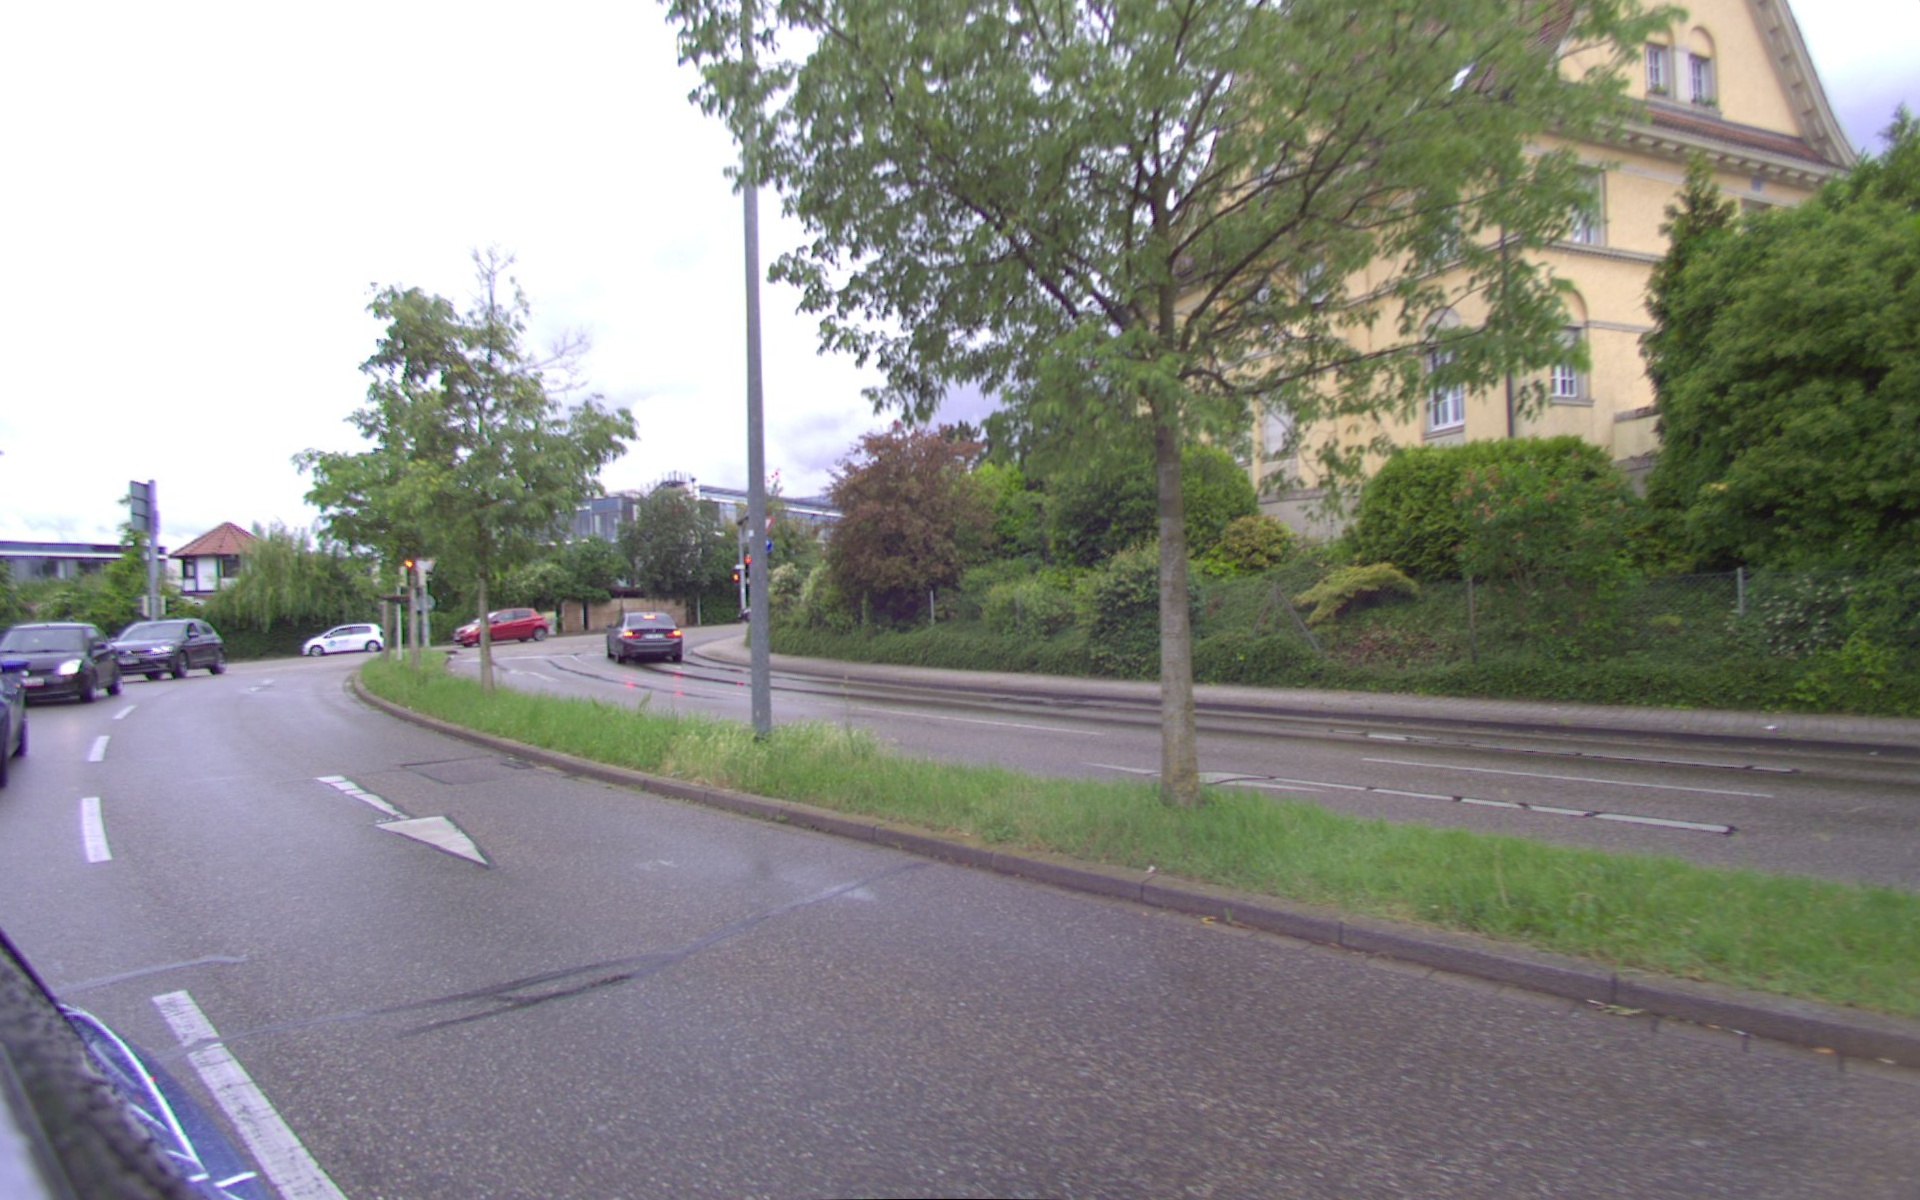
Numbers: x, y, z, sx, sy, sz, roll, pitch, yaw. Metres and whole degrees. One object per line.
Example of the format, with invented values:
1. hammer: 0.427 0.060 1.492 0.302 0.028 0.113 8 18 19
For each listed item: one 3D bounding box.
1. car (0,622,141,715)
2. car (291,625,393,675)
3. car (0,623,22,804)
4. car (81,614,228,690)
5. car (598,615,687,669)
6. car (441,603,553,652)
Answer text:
1. car: -17.461 1.306 19.522 1.718 1.530 4.012 -5 0 -27
2. car: -30.592 2.459 50.220 3.932 2.028 2.006 -5 0 -22
3. car: -10.134 0.982 9.477 1.885 1.507 4.354 1 -1 -42
4. car: -22.017 1.384 27.880 1.935 1.763 4.321 -5 0 -22
5. car: -9.467 1.229 29.932 1.965 1.449 4.563 0 -2 -25
6. car: -20.150 1.192 44.144 1.867 1.739 3.948 -5 0 40
